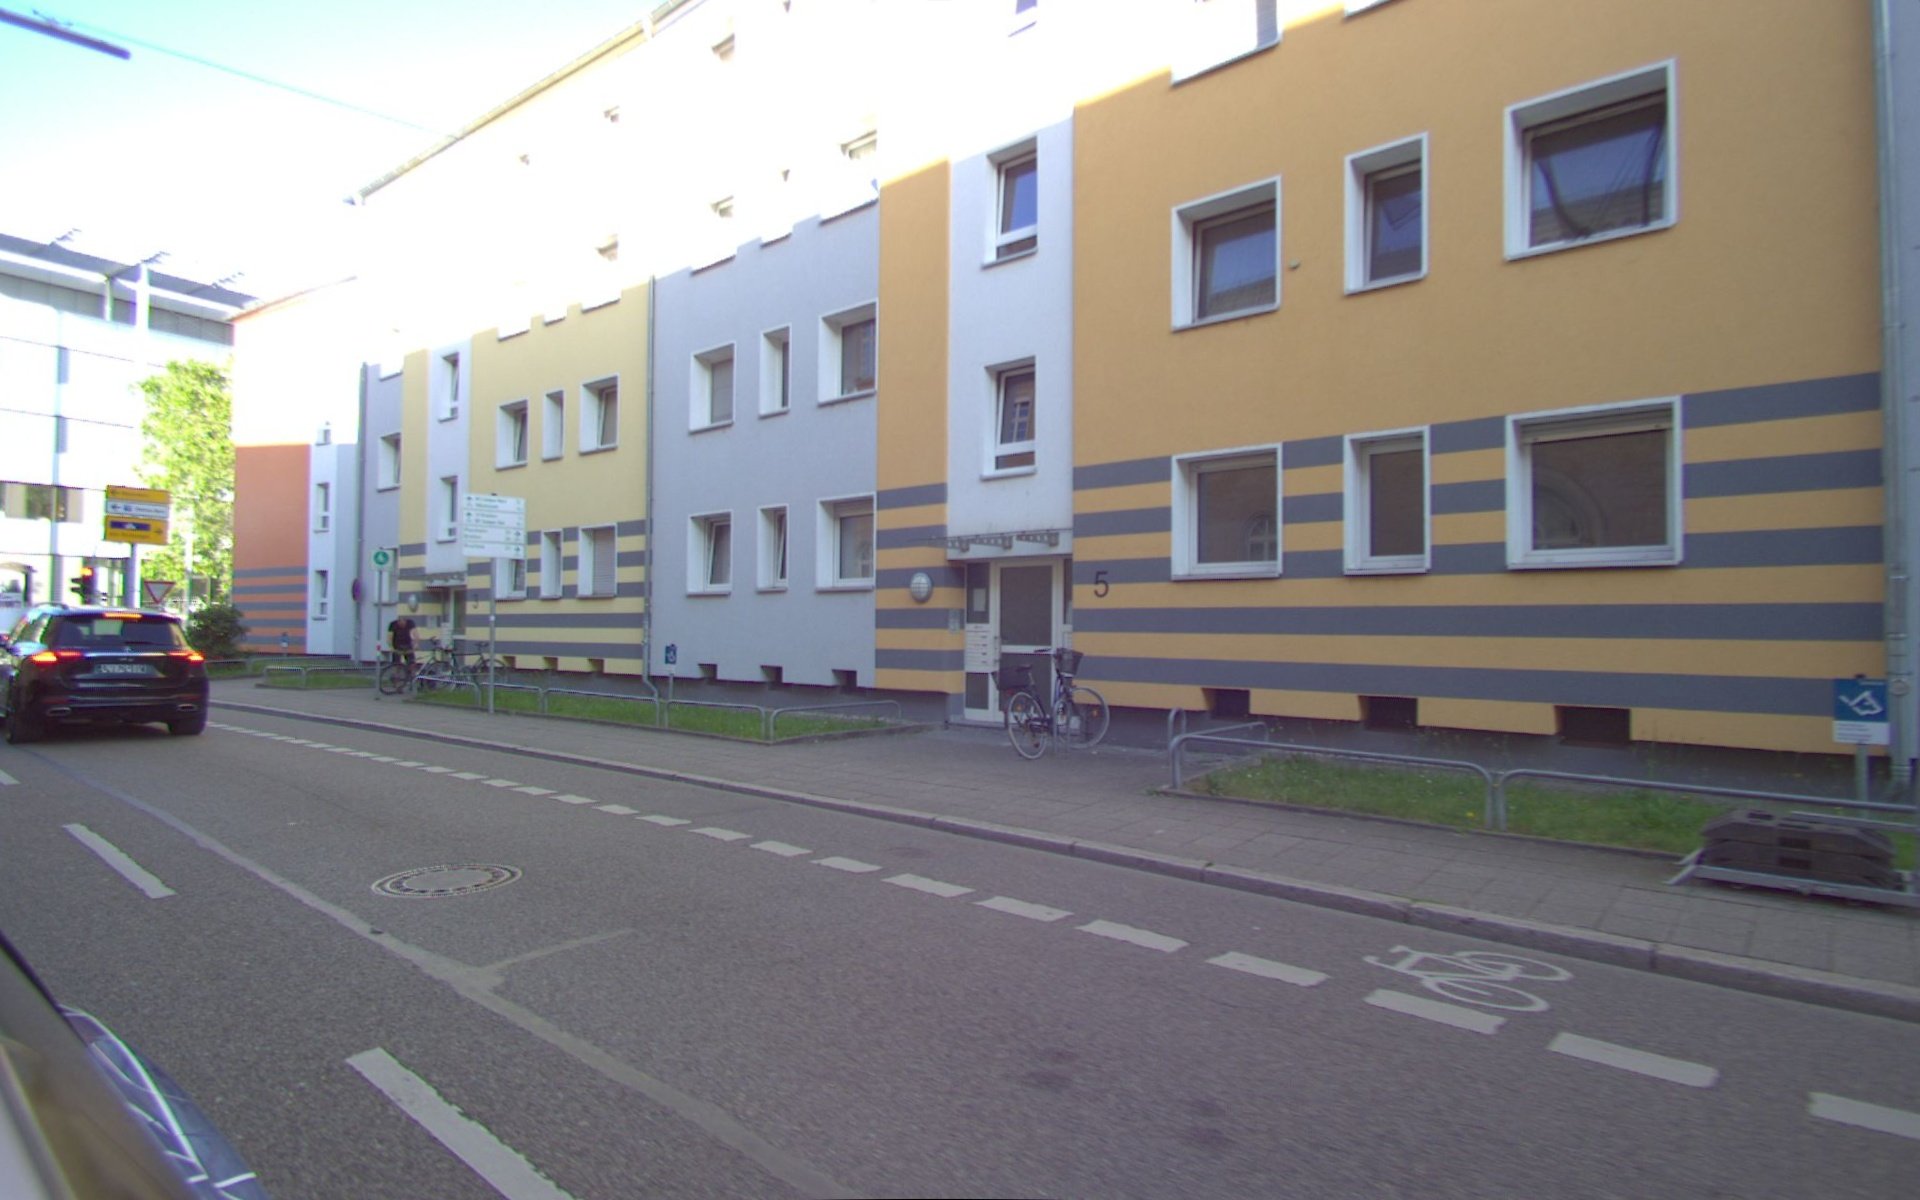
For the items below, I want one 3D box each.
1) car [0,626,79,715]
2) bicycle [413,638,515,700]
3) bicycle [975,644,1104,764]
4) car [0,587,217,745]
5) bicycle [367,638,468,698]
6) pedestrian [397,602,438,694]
[{"bbox_3d":[-17.754,1.239,18.503,4.131,1.497,1.724,-1,-4,39],"label":"car"},{"bbox_3d":[-9.836,1.346,20.130,0.649,1.154,1.738,-1,-2,33],"label":"bicycle"},{"bbox_3d":[0.887,1.063,10.883,0.649,1.154,1.738,-1,-2,33],"label":"bicycle"},{"bbox_3d":[-12.364,0.870,14.214,5.090,1.849,1.880,-1,-4,40],"label":"car"},{"bbox_3d":[-11.100,1.367,20.760,0.649,1.154,1.738,-1,-2,33],"label":"bicycle"},{"bbox_3d":[-11.302,0.987,21.086,0.709,1.869,0.872,1,-2,-28],"label":"pedestrian"}]
